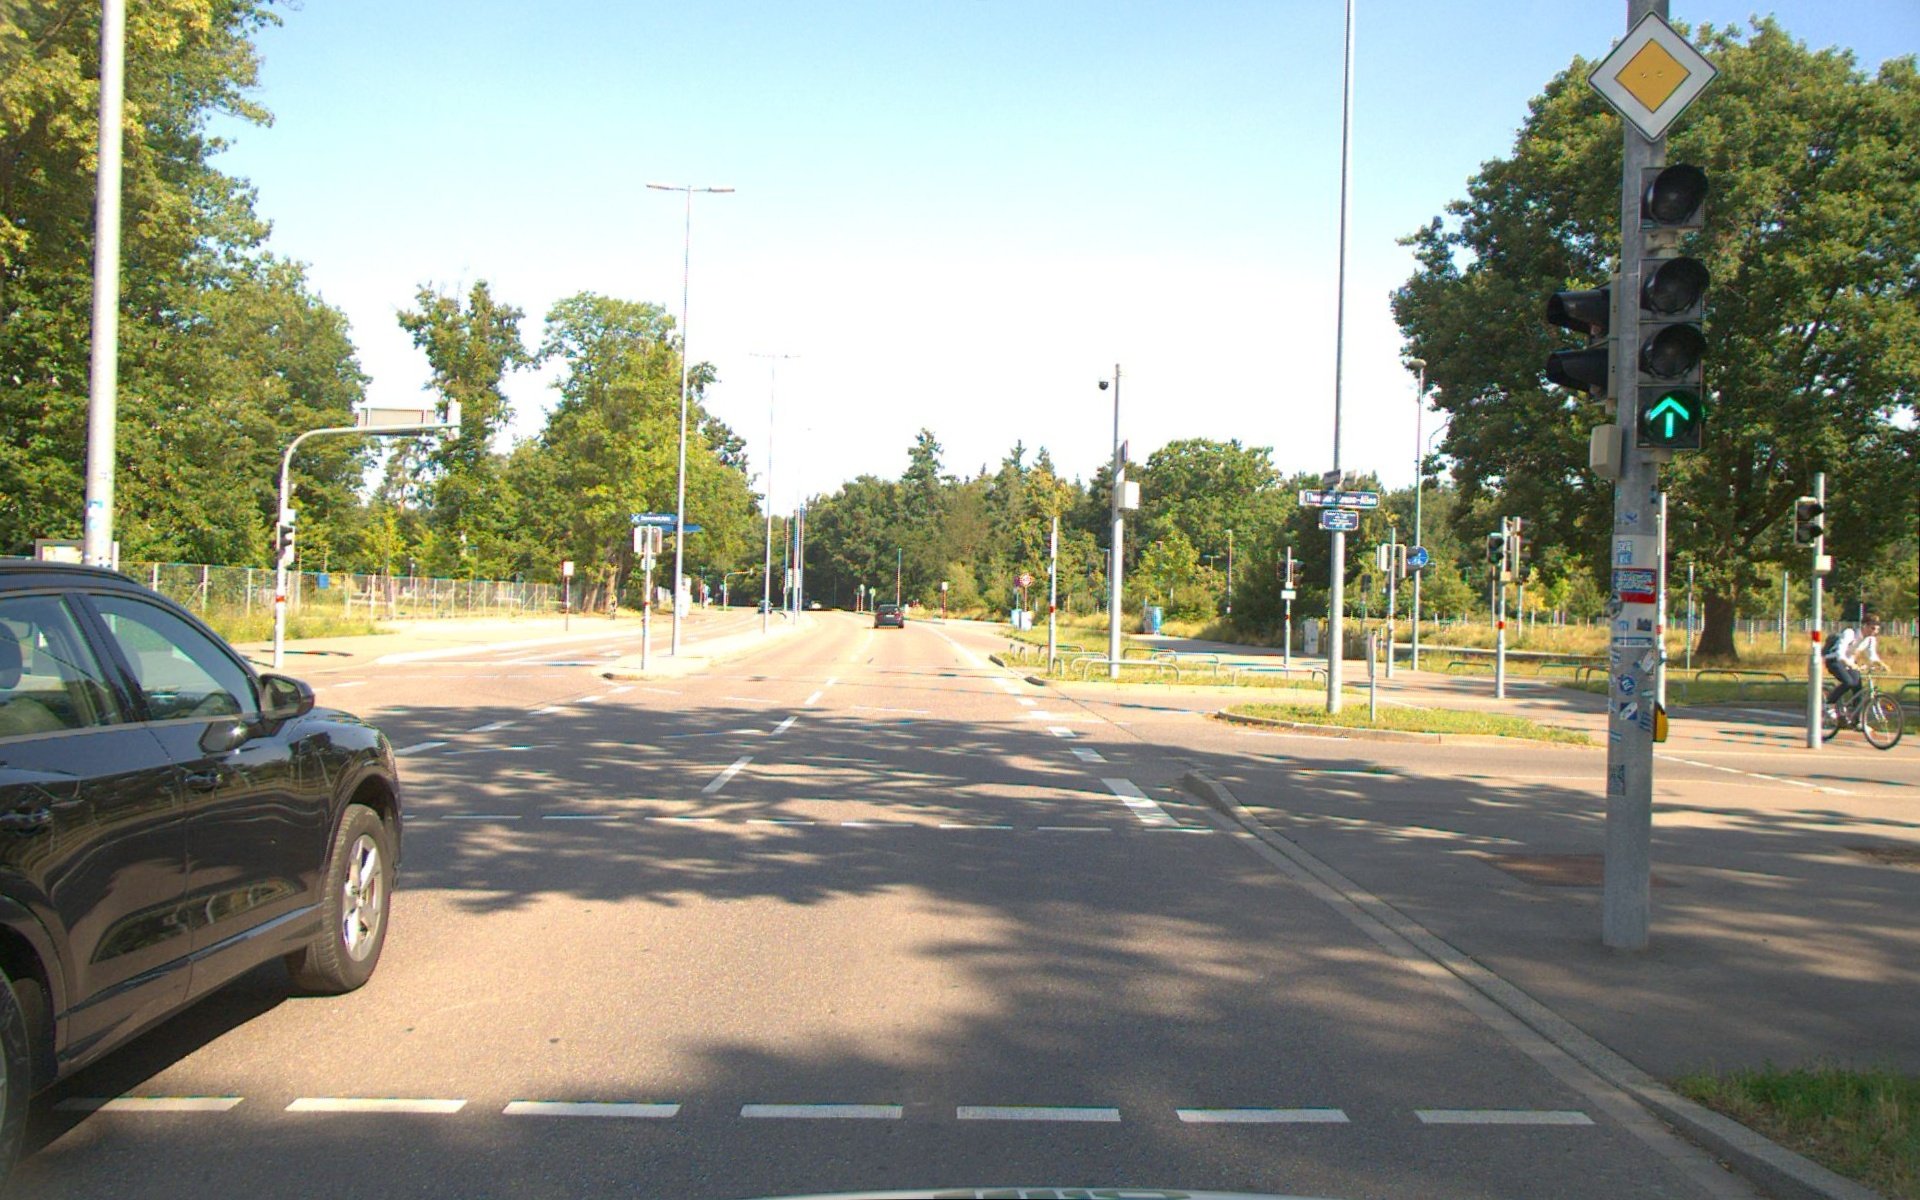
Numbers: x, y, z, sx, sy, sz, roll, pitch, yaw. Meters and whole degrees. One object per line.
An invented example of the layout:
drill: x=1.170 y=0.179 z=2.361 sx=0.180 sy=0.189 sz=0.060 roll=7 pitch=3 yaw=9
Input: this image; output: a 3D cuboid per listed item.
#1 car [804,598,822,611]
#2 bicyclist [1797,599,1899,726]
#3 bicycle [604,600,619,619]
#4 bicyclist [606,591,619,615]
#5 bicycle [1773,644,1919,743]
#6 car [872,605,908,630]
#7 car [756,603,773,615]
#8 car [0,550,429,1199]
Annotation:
car: x=-21.915 y=0.685 z=246.697 sx=1.960 sy=1.780 sz=3.985 roll=1 pitch=-1 yaw=-14
bicyclist: x=12.035 y=0.833 z=22.441 sx=0.711 sy=1.667 sz=1.055 roll=1 pitch=0 yaw=-10
bicycle: x=-22.486 y=0.609 z=106.710 sx=0.647 sy=1.155 sz=1.877 roll=3 pitch=0 yaw=-5
bicyclist: x=-22.458 y=0.183 z=106.828 sx=0.647 sy=1.493 sz=1.056 roll=3 pitch=0 yaw=-5
bicycle: x=12.020 y=1.238 z=22.409 sx=0.710 sy=1.220 sz=2.096 roll=1 pitch=0 yaw=-10
car: x=-4.359 y=1.065 z=102.143 sx=1.903 sy=1.445 sz=4.287 roll=1 pitch=0 yaw=-6
car: x=-24.385 y=1.083 z=206.342 sx=1.779 sy=1.412 sz=4.150 roll=-1 pitch=0 yaw=-11
car: x=-2.994 y=0.670 z=4.725 sx=1.653 sy=1.571 sz=4.148 roll=0 pitch=0 yaw=-1
